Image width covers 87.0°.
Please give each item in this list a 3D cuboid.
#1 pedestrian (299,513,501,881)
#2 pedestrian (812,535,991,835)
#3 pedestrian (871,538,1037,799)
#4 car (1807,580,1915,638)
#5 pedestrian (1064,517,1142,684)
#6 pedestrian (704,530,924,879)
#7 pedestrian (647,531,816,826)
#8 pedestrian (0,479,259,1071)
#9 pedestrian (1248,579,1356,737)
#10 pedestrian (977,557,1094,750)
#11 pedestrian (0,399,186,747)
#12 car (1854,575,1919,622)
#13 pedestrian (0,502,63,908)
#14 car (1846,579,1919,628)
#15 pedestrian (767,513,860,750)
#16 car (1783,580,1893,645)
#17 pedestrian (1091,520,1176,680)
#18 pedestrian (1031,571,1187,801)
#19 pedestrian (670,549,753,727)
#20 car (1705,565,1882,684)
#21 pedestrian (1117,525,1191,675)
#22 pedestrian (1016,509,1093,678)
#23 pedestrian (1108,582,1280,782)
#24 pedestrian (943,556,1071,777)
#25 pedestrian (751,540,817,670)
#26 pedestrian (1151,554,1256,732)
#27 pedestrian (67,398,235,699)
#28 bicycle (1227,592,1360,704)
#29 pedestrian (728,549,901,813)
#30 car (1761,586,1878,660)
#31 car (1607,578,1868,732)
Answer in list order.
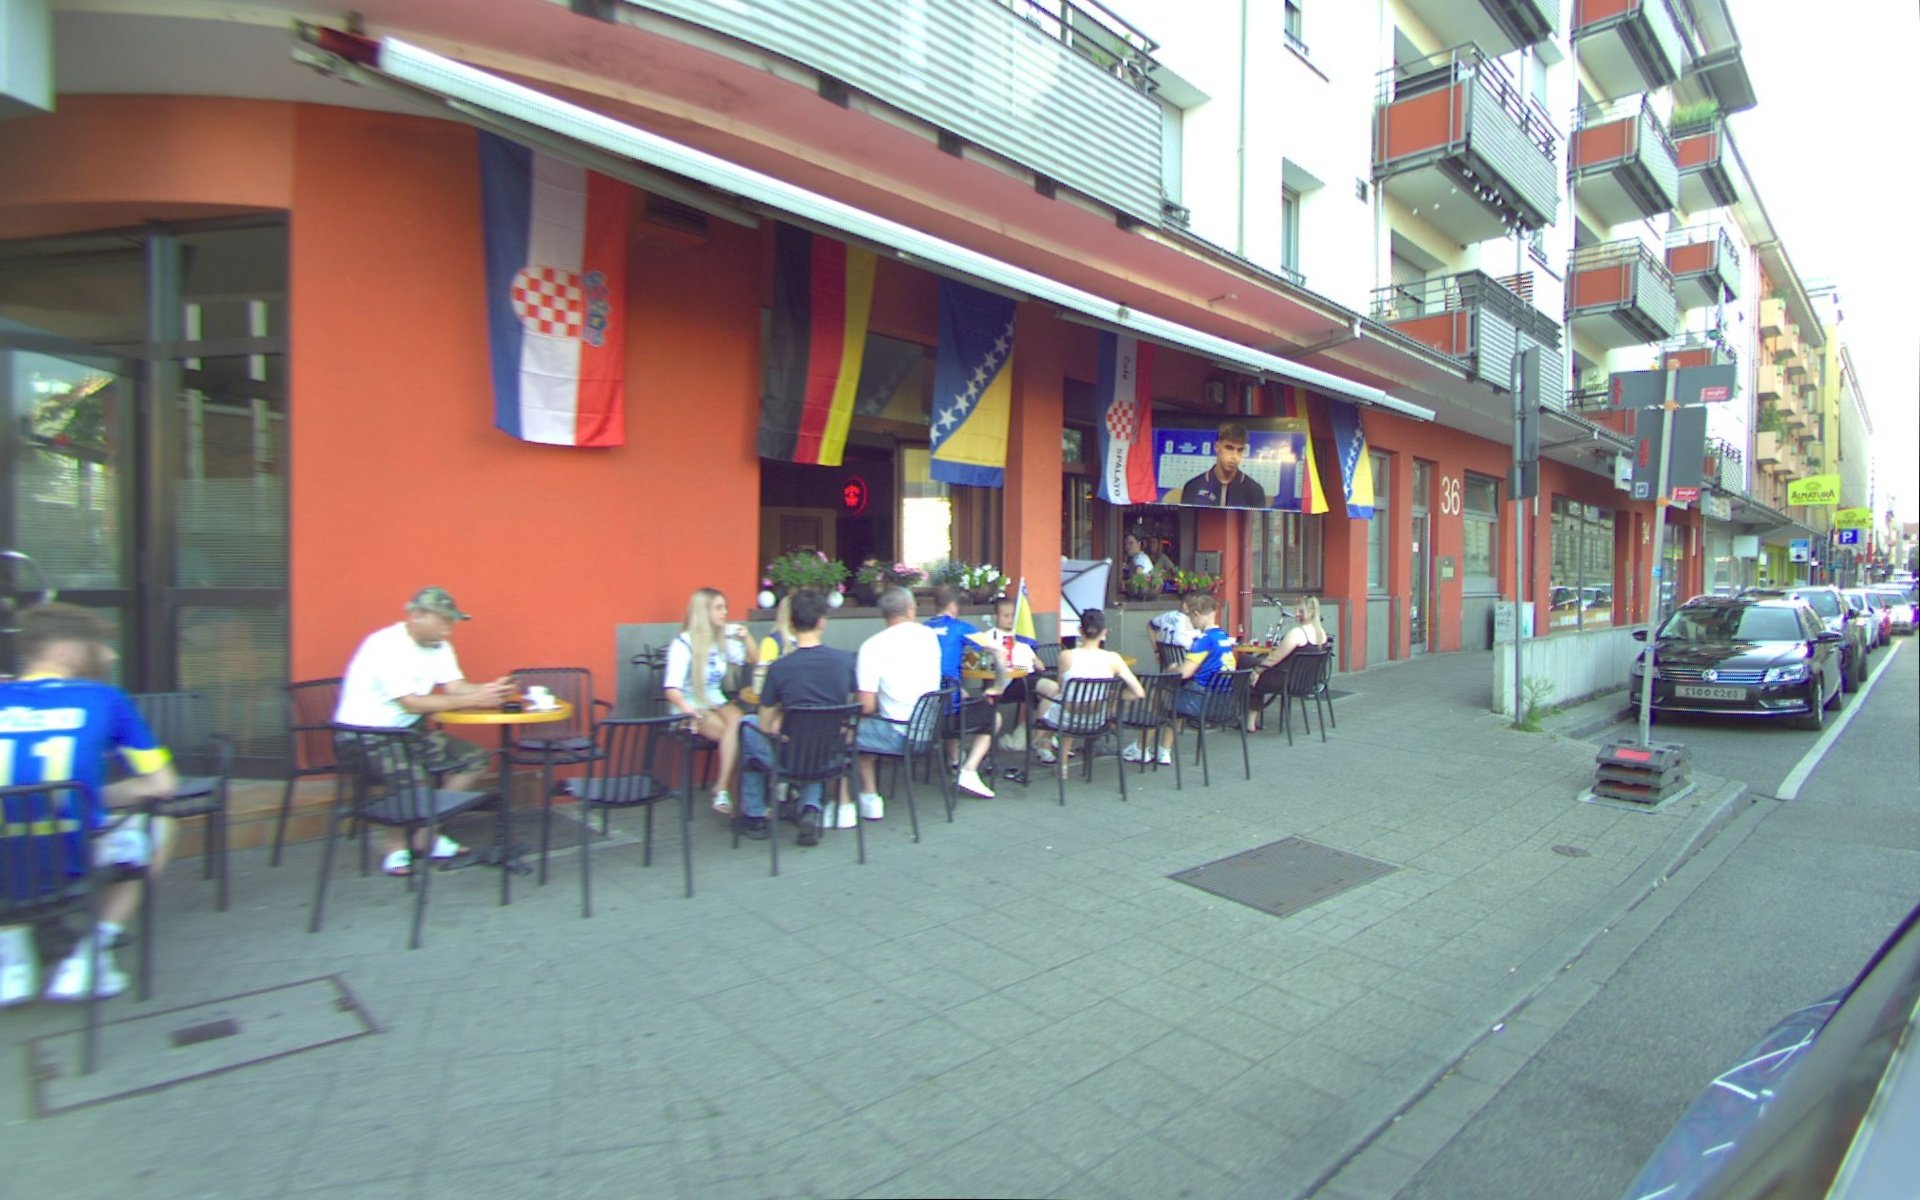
[{"bbox_3d":[-2.568,0.406,4.719,0.635,1.555,0.754,0,0,-12],"label":"pedestrian"},{"bbox_3d":[-0.331,0.430,5.747,0.648,1.545,0.690,6,4,41],"label":"pedestrian"},{"bbox_3d":[-0.040,0.402,6.571,0.849,1.555,0.669,0,0,42],"label":"pedestrian"},{"bbox_3d":[25.172,0.205,28.225,4.321,1.495,1.864,-1,0,-43],"label":"car"},{"bbox_3d":[1.570,-0.004,11.088,0.610,1.760,0.608,1,1,44],"label":"pedestrian"},{"bbox_3d":[-0.731,0.459,5.075,0.712,1.554,0.748,6,4,41],"label":"pedestrian"},{"bbox_3d":[-1.316,0.399,5.811,0.673,1.554,0.644,4,3,43],"label":"pedestrian"},{"bbox_3d":[-2.642,0.437,2.981,0.839,1.554,0.713,0,5,-44],"label":"pedestrian"},{"bbox_3d":[3.050,0.479,9.014,0.843,1.293,0.709,1,4,23],"label":"pedestrian"},{"bbox_3d":[0.594,0.395,7.998,0.712,1.439,0.592,-1,0,44],"label":"pedestrian"},{"bbox_3d":[-5.561,-0.168,6.499,0.838,2.039,0.912,0,1,-31],"label":"pedestrian"},{"bbox_3d":[34.686,-0.082,37.350,4.291,1.637,1.997,-1,0,-41],"label":"car"},{"bbox_3d":[-4.061,0.406,3.755,0.703,1.555,0.850,0,0,10],"label":"pedestrian"},{"bbox_3d":[30.722,0.084,33.346,4.229,1.495,1.894,-1,0,-43],"label":"car"},{"bbox_3d":[-1.160,0.232,8.023,0.536,1.799,0.513,0,1,42],"label":"pedestrian"},{"bbox_3d":[21.965,0.274,25.274,3.883,1.495,1.764,-1,0,-45],"label":"car"},{"bbox_3d":[1.985,-0.009,11.573,0.716,1.742,0.658,1,1,44],"label":"pedestrian"},{"bbox_3d":[0.971,0.509,6.585,0.653,1.361,0.738,4,3,42],"label":"pedestrian"},{"bbox_3d":[-2.609,0.375,10.628,0.609,1.799,0.609,0,1,37],"label":"pedestrian"},{"bbox_3d":[13.866,0.339,16.749,4.070,1.721,1.879,-1,0,-45],"label":"car"},{"bbox_3d":[2.731,-0.015,14.262,0.799,2.039,0.670,0,1,-35],"label":"pedestrian"},{"bbox_3d":[1.043,-0.075,11.192,0.610,1.799,0.608,0,1,42],"label":"pedestrian"},{"bbox_3d":[1.695,0.547,7.413,0.835,1.321,0.880,0,3,-25],"label":"pedestrian"},{"bbox_3d":[0.328,0.428,7.115,0.665,1.451,0.552,4,3,42],"label":"pedestrian"},{"bbox_3d":[-2.536,0.058,14.562,0.746,1.816,0.650,0,1,-35],"label":"pedestrian"},{"bbox_3d":[2.265,0.374,9.374,0.843,1.555,0.709,0,0,23],"label":"pedestrian"},{"bbox_3d":[-5.890,-0.356,7.431,0.845,2.039,0.815,0,1,-30],"label":"pedestrian"},{"bbox_3d":[3.643,0.476,10.941,0.549,1.101,1.973,-1,0,44],"label":"bicycle"},{"bbox_3d":[-0.917,0.455,6.383,0.767,1.523,0.771,1,1,43],"label":"pedestrian"},{"bbox_3d":[18.280,0.427,21.463,1.747,1.421,3.906,0,0,43],"label":"car"},{"bbox_3d":[9.810,0.538,12.618,4.553,1.571,1.876,-1,0,-43],"label":"car"}]
